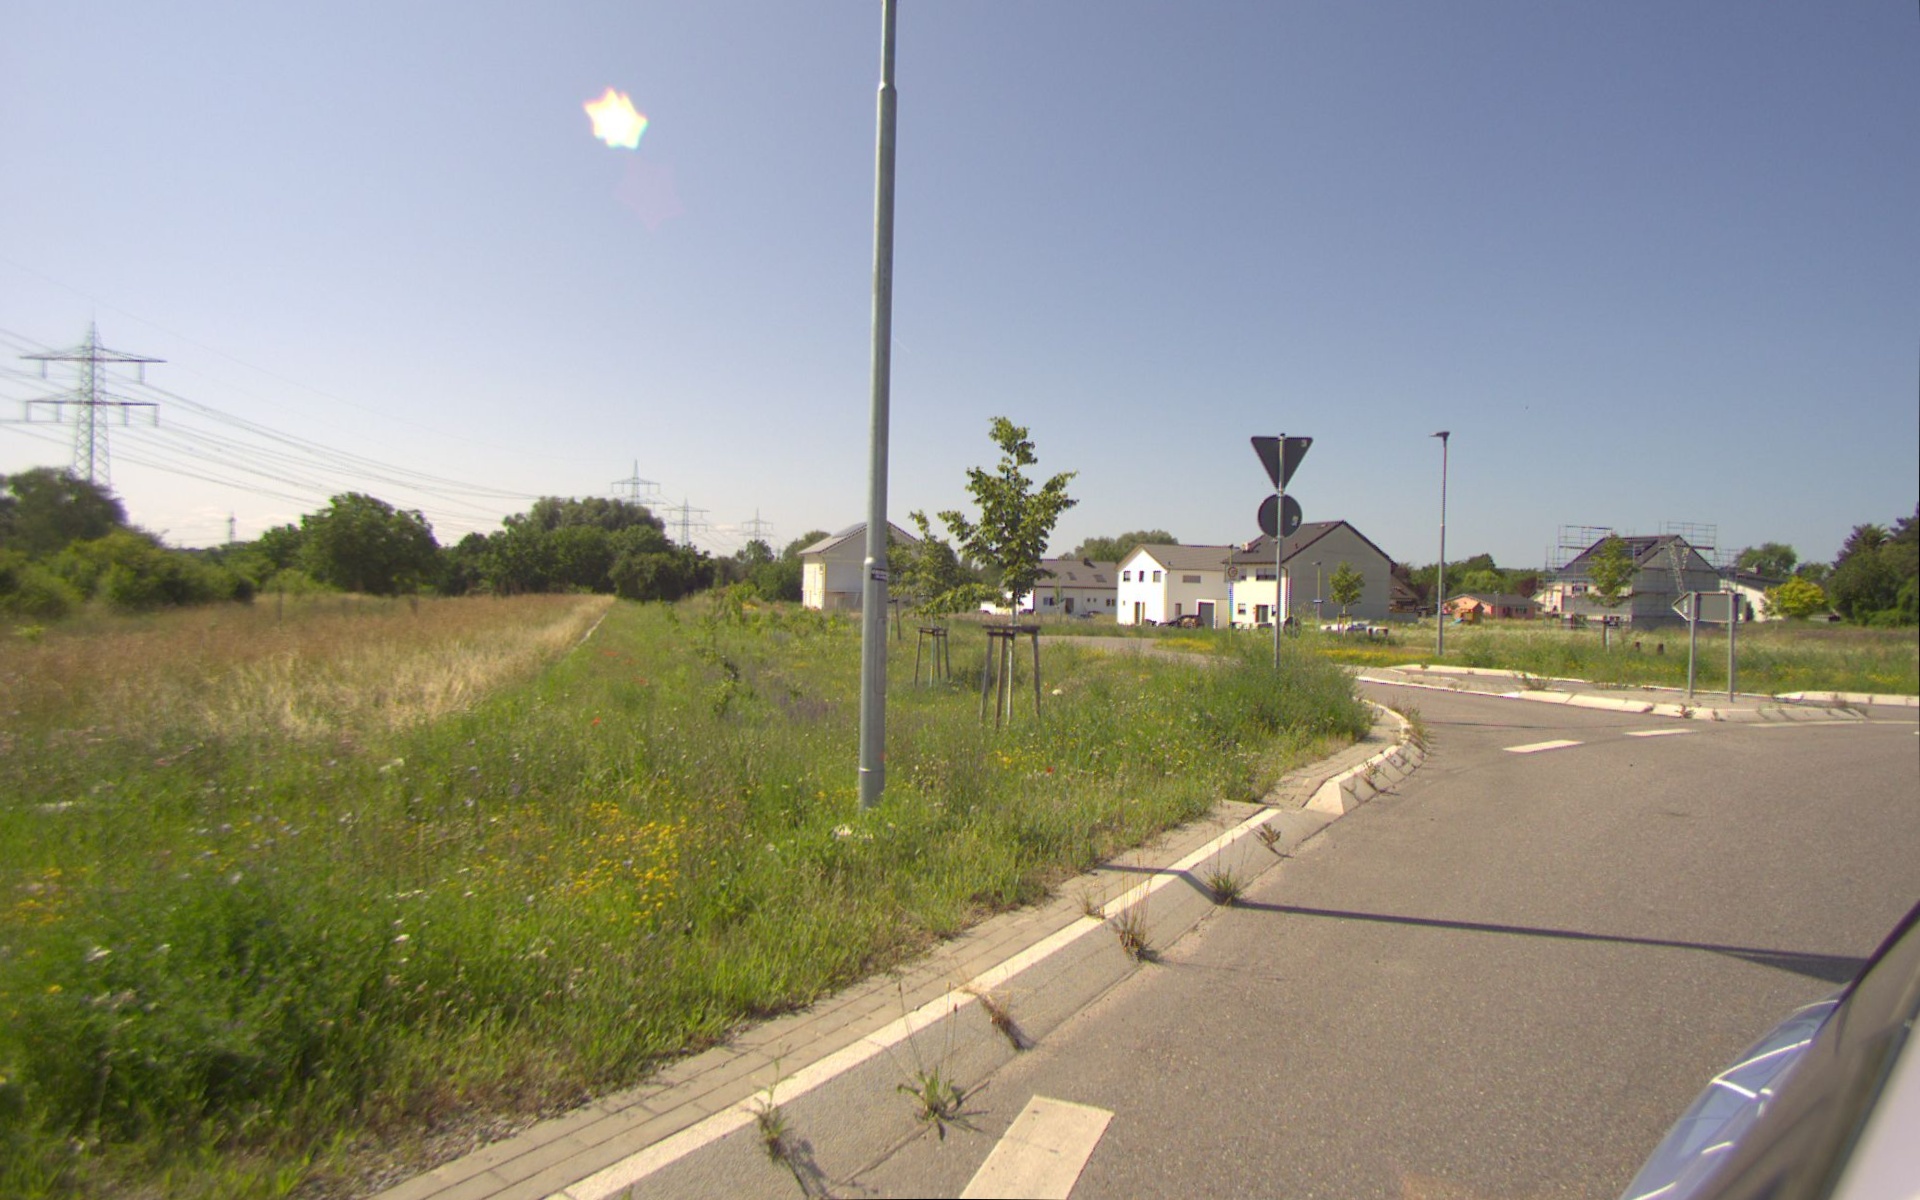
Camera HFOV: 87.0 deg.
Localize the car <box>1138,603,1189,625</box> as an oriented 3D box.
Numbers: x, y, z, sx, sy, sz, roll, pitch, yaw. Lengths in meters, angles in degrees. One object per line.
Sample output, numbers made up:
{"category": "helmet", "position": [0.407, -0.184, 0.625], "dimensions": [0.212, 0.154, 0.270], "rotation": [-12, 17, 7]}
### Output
{"category": "car", "position": [17.823, 1.214, 88.608], "dimensions": [3.915, 1.816, 2.004], "rotation": [1, 0, -17]}
